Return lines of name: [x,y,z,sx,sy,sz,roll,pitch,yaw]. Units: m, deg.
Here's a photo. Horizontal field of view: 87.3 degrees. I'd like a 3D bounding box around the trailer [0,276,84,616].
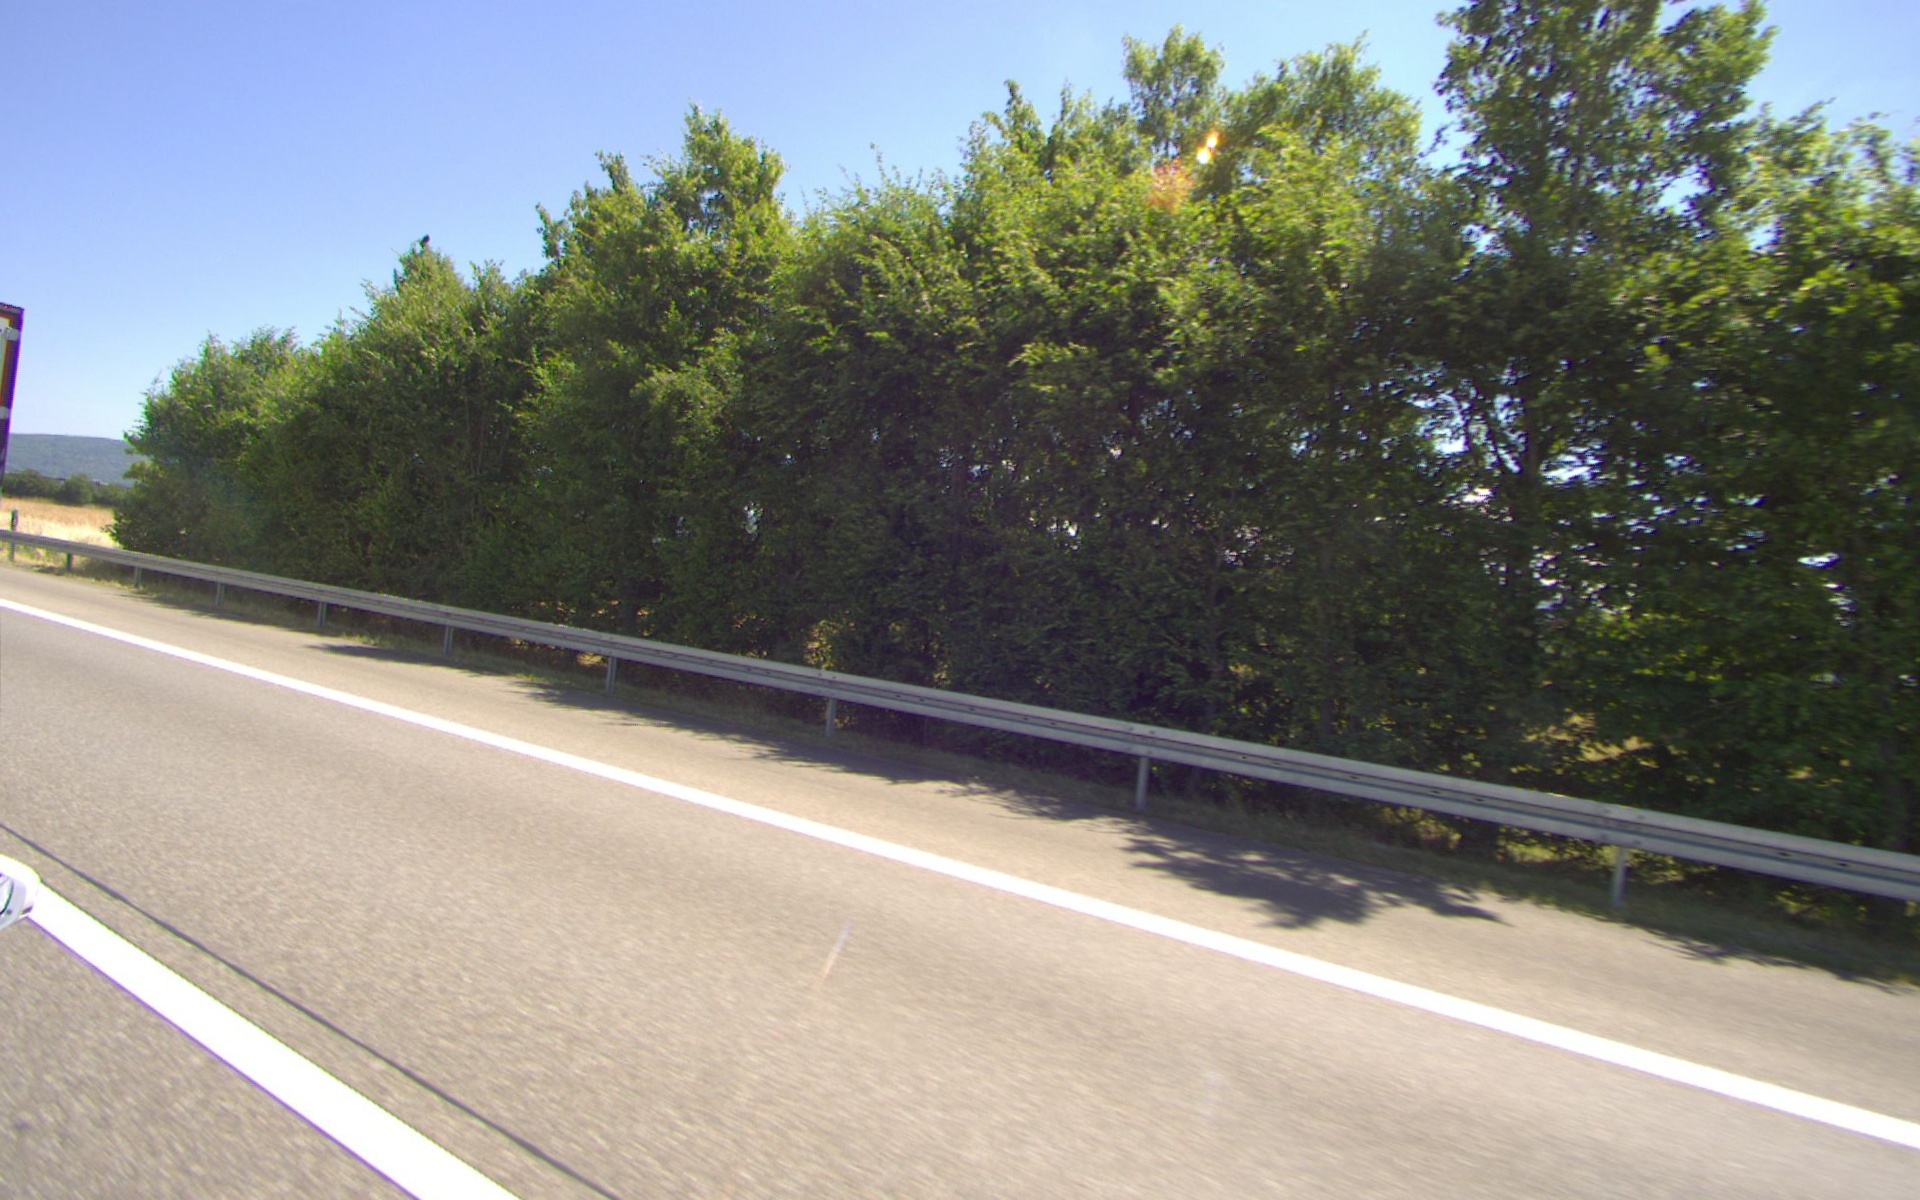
trailer: [-18.866,-2.796,16.020,13.402,4.396,3.224,7,-1,32]
